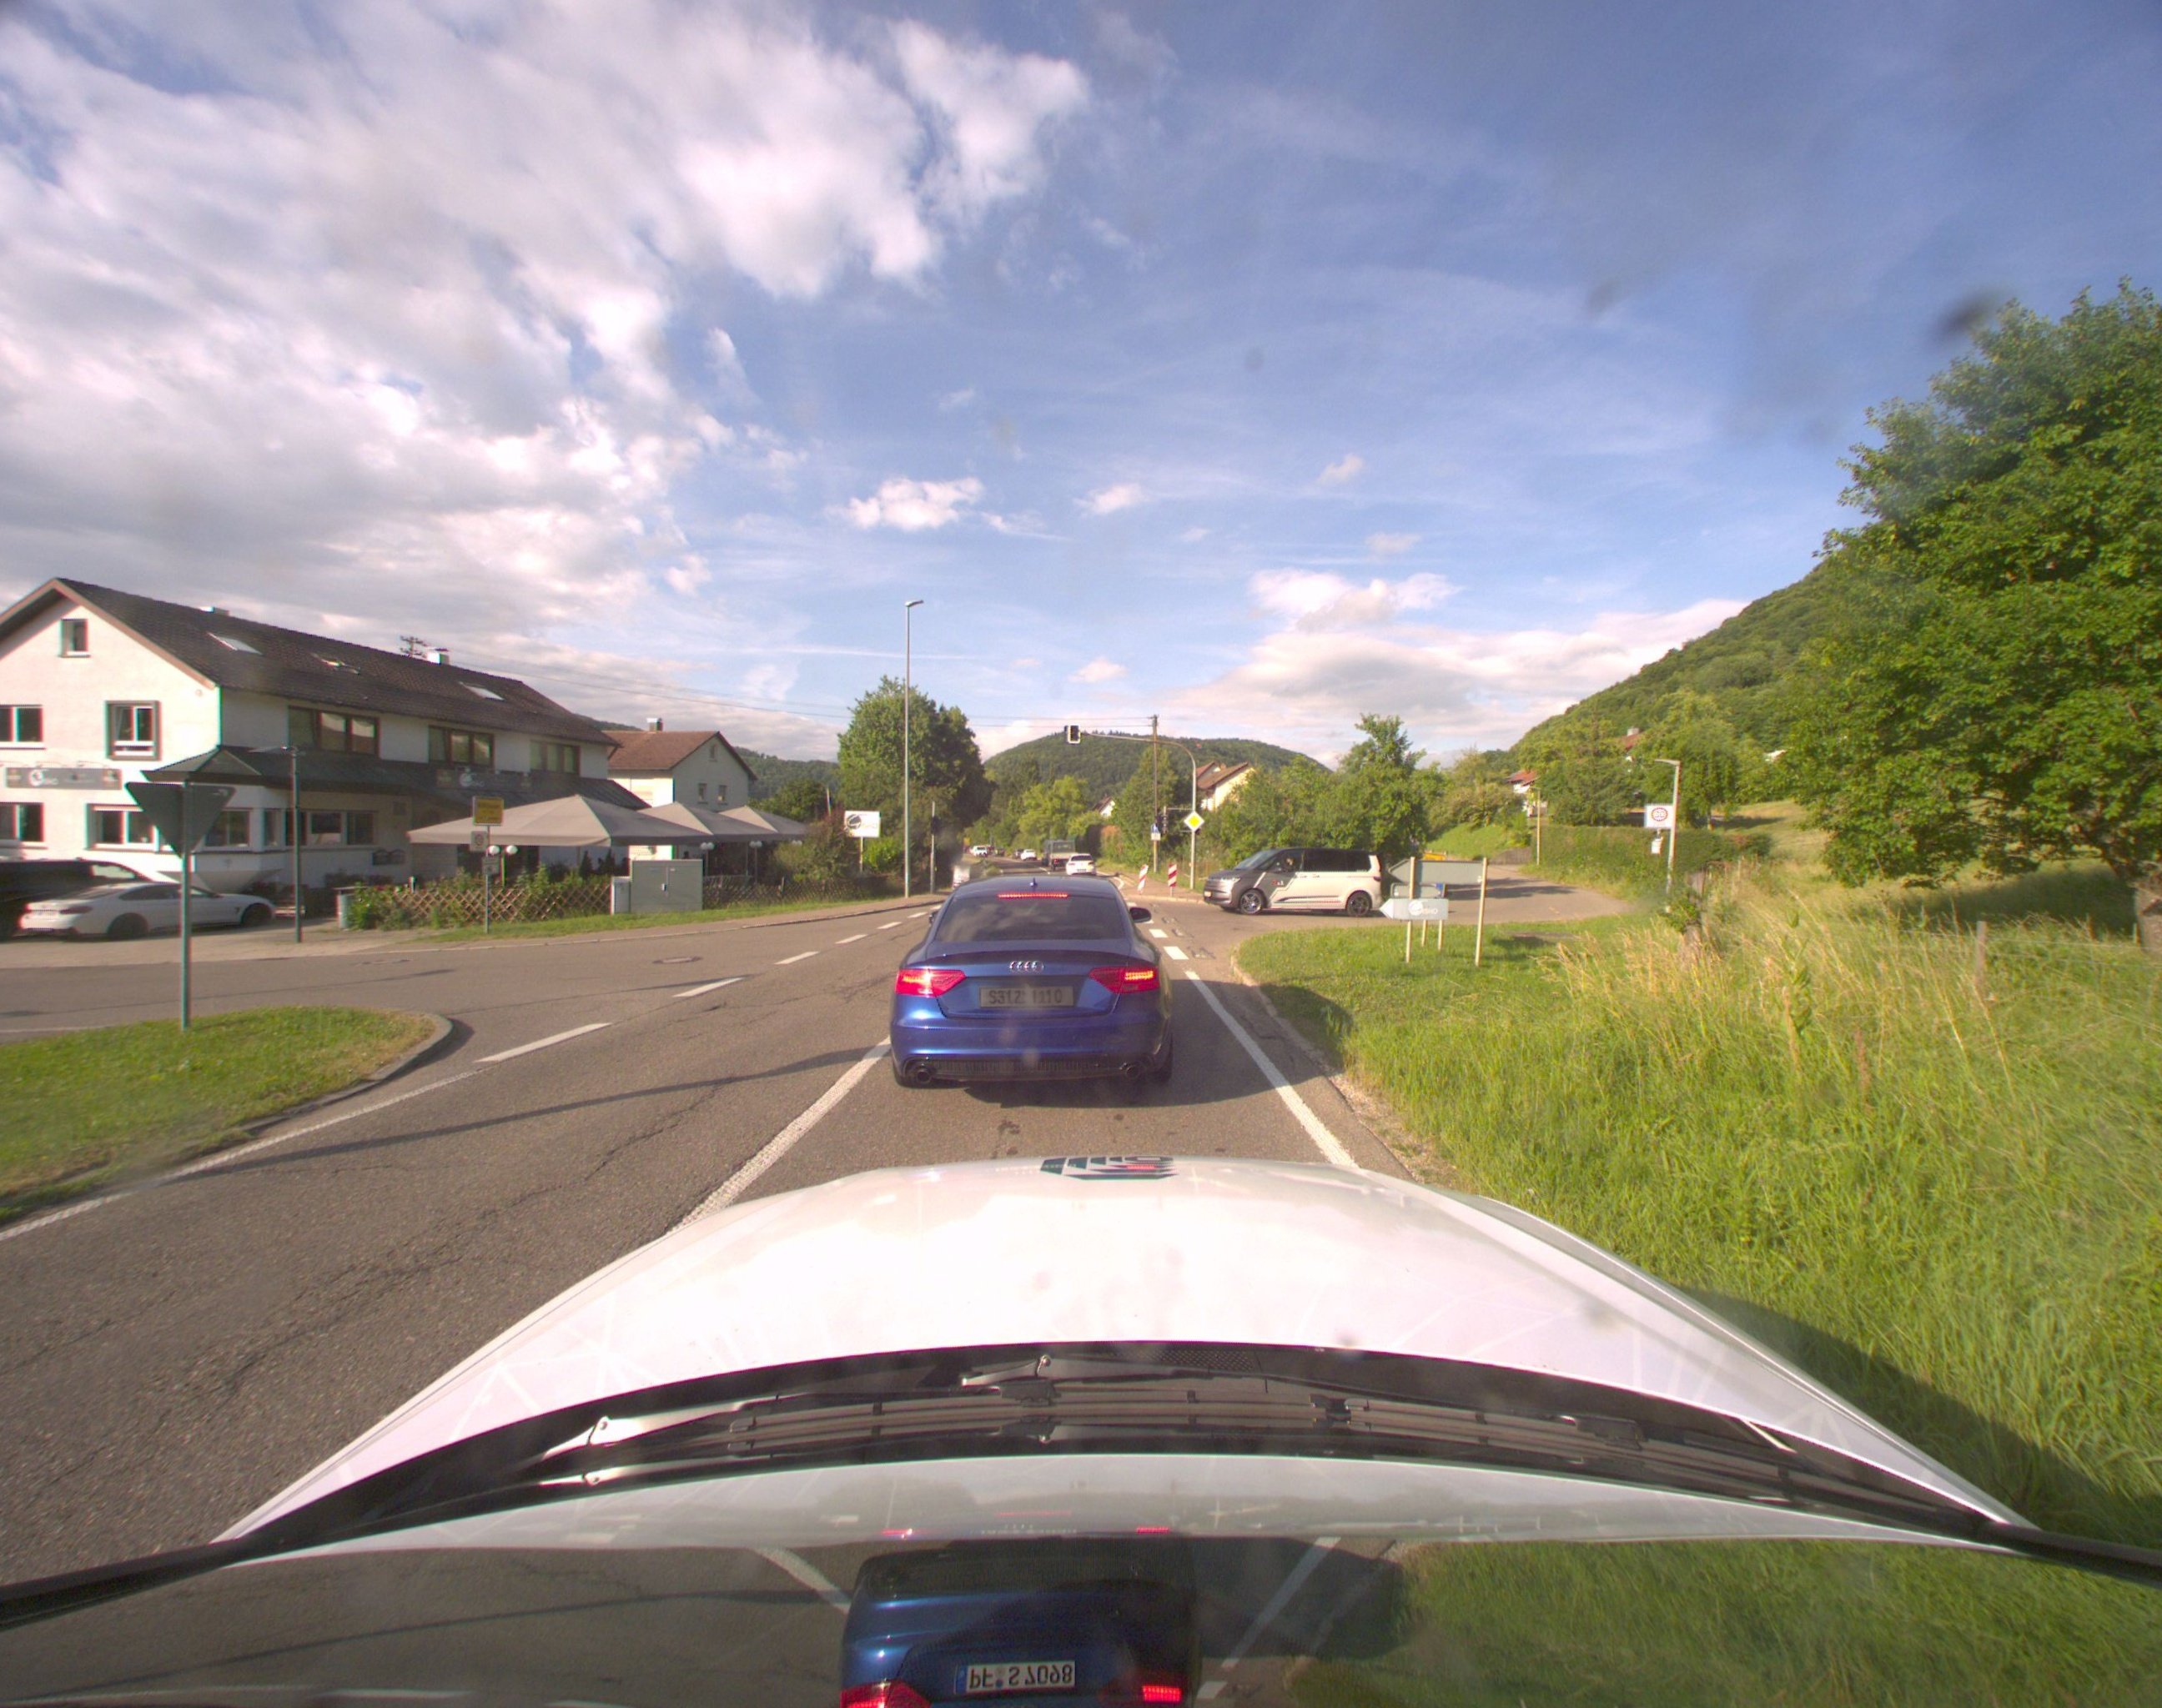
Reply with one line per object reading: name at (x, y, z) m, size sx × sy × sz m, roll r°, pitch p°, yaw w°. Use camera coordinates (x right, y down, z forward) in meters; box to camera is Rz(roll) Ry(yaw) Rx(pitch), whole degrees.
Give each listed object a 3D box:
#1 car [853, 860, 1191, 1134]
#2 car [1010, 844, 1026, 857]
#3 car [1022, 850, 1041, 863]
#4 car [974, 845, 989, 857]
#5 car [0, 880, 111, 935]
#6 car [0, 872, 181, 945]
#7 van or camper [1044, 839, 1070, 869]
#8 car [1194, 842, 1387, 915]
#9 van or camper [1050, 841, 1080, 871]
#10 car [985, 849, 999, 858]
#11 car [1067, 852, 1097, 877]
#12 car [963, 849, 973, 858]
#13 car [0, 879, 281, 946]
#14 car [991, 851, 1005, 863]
car at (-0.314, 0.800, 6.607) m, size 1.824 × 1.409 × 4.226 m, roll -2°, pitch 0°, yaw 0°
car at (-9.091, -0.466, 116.750) m, size 1.798 × 1.794 × 3.984 m, roll -1°, pitch 0°, yaw -12°
car at (-6.456, 0.310, 105.302) m, size 1.821 × 1.552 × 3.983 m, roll -1°, pitch 0°, yaw -12°
car at (-16.431, -0.449, 133.777) m, size 1.995 × 1.903 × 5.233 m, roll -2°, pitch 1°, yaw -11°
car at (-30.408, 1.535, 22.307) m, size 1.984 × 1.389 × 4.582 m, roll -2°, pitch 0°, yaw 5°
car at (-27.340, 1.402, 21.427) m, size 1.984 × 1.685 × 4.582 m, roll -2°, pitch 0°, yaw 5°
van or camper at (-2.452, 0.000, 81.902) m, size 2.410 × 2.904 × 6.122 m, roll -1°, pitch 0°, yaw -4°
car at (5.802, 0.663, 22.762) m, size 4.858 × 1.876 × 1.992 m, roll 1°, pitch 1°, yaw -12°
van or camper at (-1.367, 0.116, 67.961) m, size 2.176 × 2.385 × 5.362 m, roll -1°, pitch 0°, yaw -4°
car at (-16.251, -0.140, 148.609) m, size 2.043 × 1.684 × 3.982 m, roll -1°, pitch 1°, yaw -13°
car at (0.084, 0.627, 49.511) m, size 1.765 × 1.415 × 4.174 m, roll 1°, pitch 0°, yaw 0°
car at (-24.776, -0.078, 178.583) m, size 1.774 × 1.783 × 3.982 m, roll -1°, pitch 0°, yaw -13°
car at (-24.645, 1.466, 21.650) m, size 1.984 × 1.389 × 4.582 m, roll -2°, pitch 0°, yaw 5°
car at (-14.290, 0.461, 139.693) m, size 1.995 × 2.013 × 3.983 m, roll -1°, pitch 1°, yaw -12°
